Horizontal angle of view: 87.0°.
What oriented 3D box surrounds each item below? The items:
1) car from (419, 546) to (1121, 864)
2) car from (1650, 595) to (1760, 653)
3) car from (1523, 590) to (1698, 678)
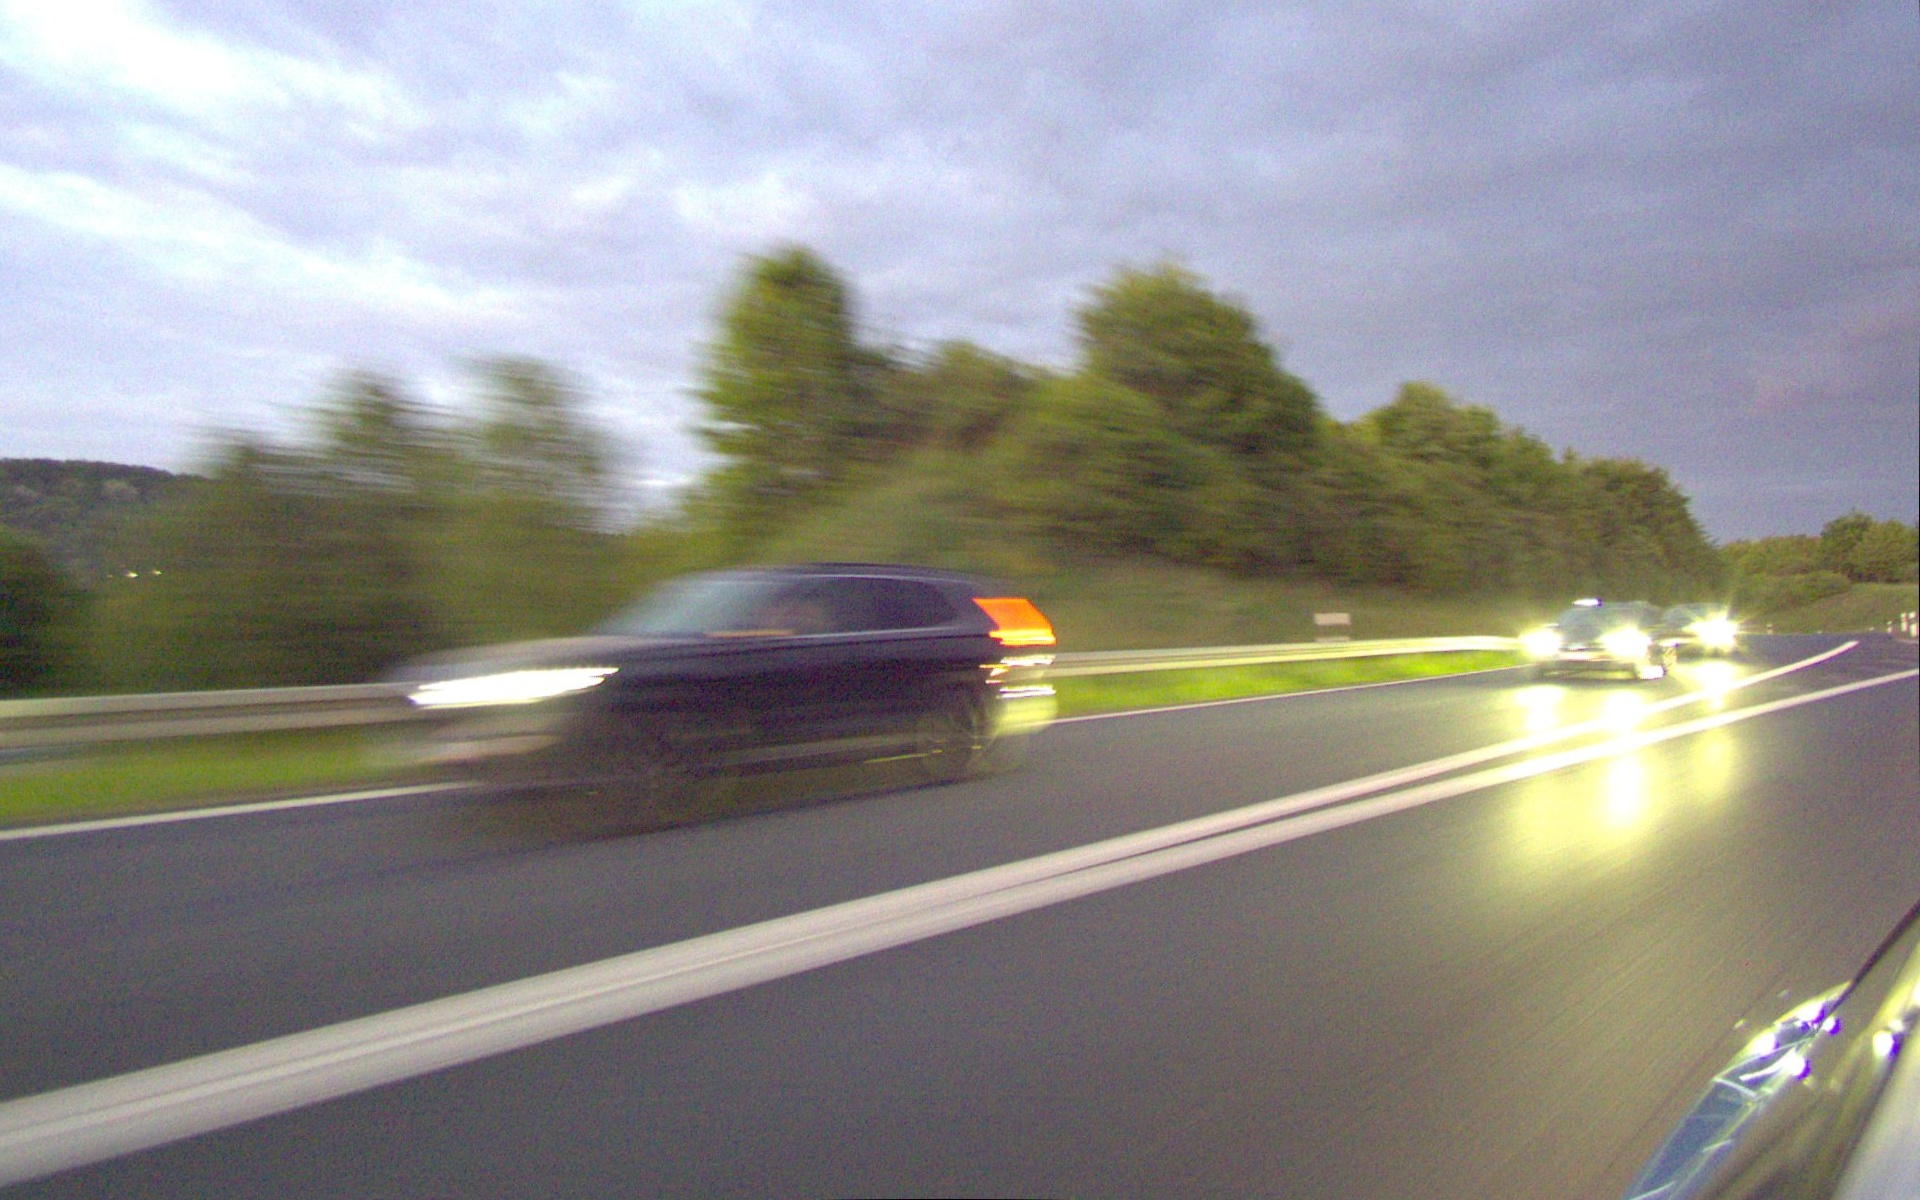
[{"bbox_3d":[-1.086,0.559,7.706,5.073,1.666,1.799,0,-2,-43],"label":"car"},{"bbox_3d":[21.064,0.646,28.555,4.363,1.511,1.798,0,-2,-45],"label":"car"},{"bbox_3d":[12.891,0.615,19.897,5.034,1.511,1.798,0,-2,-45],"label":"car"}]
